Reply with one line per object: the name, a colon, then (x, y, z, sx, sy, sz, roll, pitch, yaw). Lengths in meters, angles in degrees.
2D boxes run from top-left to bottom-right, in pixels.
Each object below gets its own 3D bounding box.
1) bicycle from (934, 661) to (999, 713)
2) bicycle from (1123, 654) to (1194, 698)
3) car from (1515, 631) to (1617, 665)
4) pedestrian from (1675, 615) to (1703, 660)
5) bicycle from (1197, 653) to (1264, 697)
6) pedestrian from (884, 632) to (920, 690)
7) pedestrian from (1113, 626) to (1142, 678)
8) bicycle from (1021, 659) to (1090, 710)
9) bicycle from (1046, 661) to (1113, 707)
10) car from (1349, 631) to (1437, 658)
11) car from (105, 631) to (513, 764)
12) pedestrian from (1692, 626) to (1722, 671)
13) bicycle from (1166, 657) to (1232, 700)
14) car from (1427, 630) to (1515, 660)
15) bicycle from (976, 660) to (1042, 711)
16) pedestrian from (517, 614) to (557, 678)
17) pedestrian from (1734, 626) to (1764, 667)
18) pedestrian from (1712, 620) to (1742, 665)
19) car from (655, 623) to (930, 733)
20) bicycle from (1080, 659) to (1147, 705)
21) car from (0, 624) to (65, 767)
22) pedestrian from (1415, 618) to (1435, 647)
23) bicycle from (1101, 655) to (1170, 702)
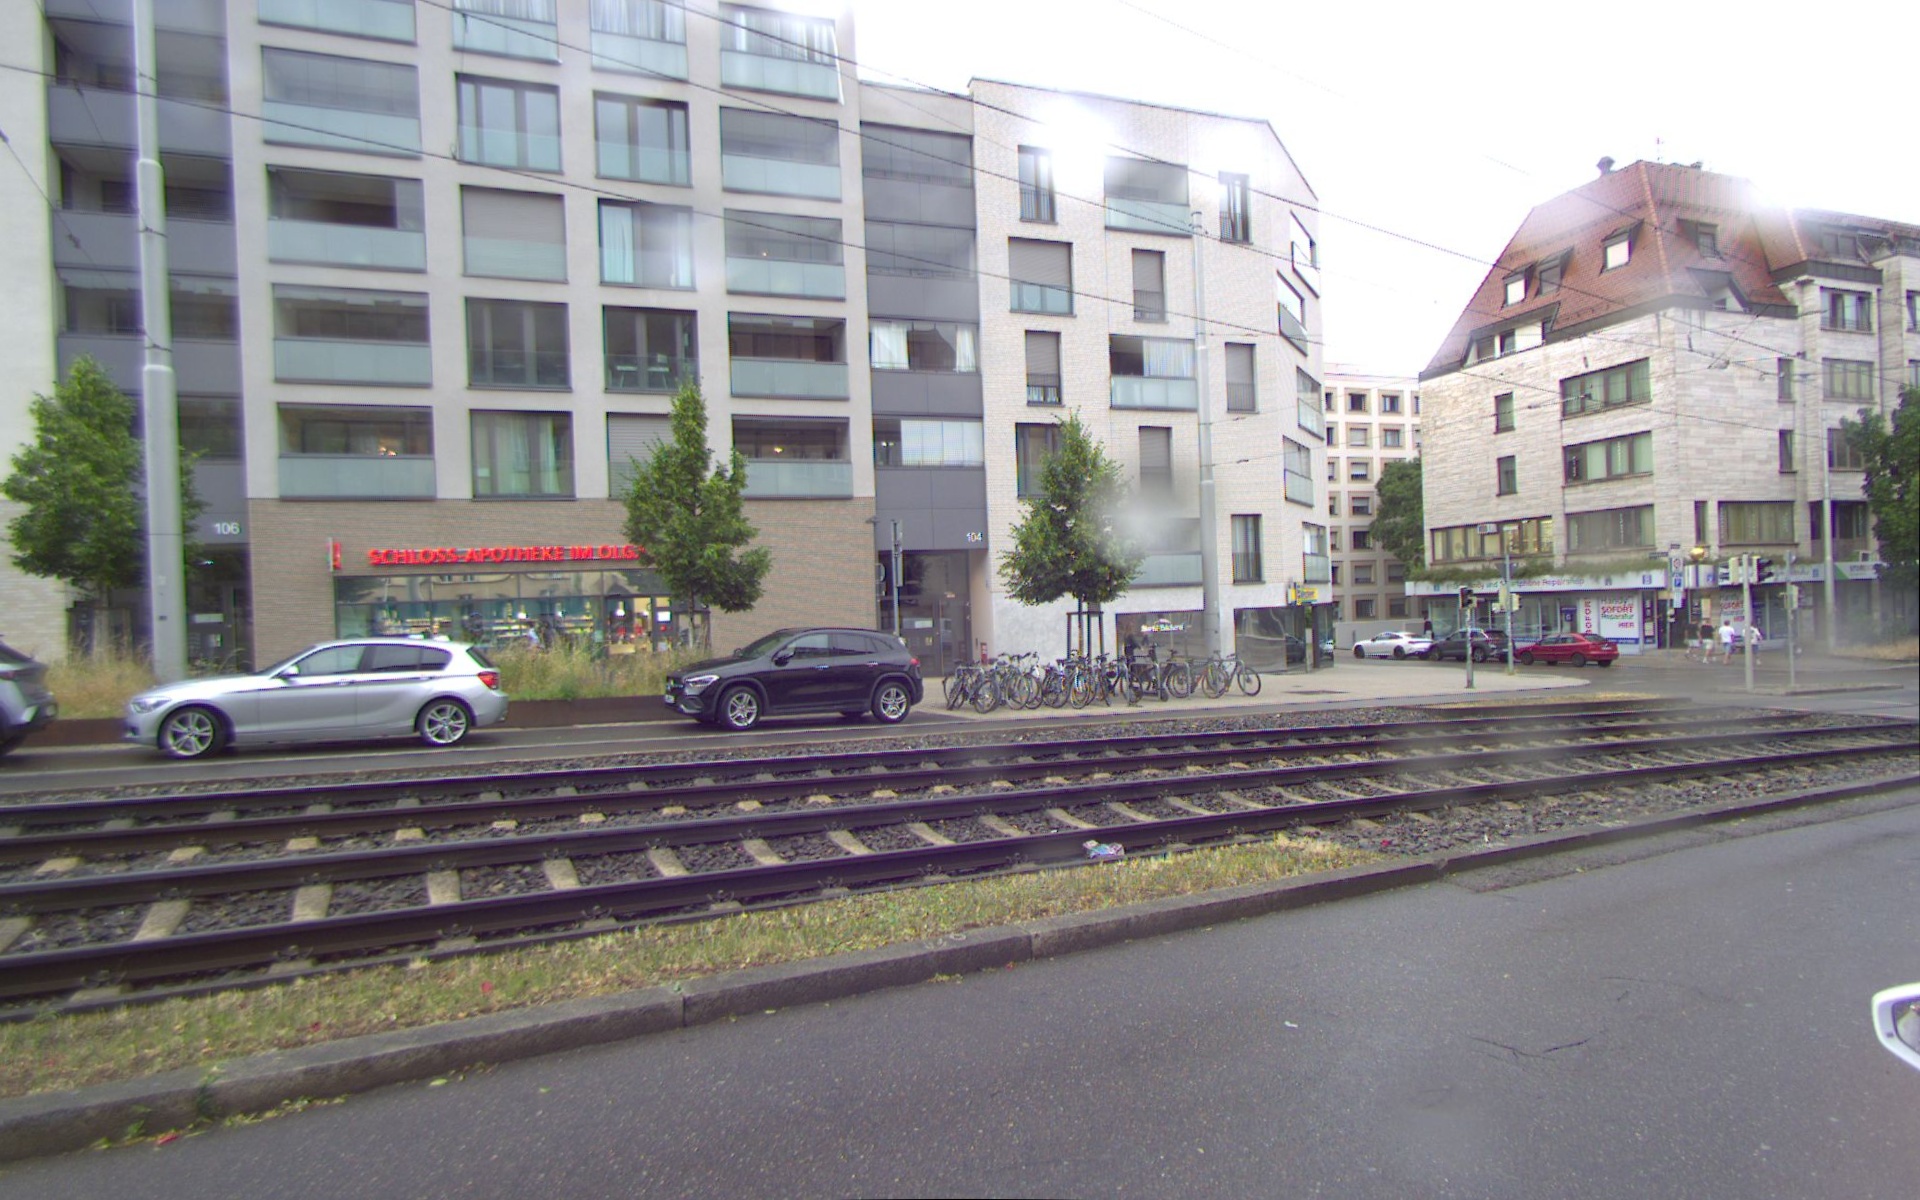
bicycle: (0.108, 1.732, 20.227, 0.383, 0.930, 1.772, 1, -1, -34)
bicycle: (4.773, 1.818, 24.240, 1.764, 0.930, 0.385, 0, -1, 44)
car: (25.845, 2.021, 42.986, 1.568, 1.335, 3.694, 1, -2, -16)
pedestrian: (30.468, 1.570, 42.000, 0.674, 1.867, 0.646, 1, 1, -22)
bicycle: (6.660, 1.835, 24.813, 0.436, 0.993, 1.773, 1, -2, -34)
pedestrian: (-1.516, 1.579, 26.187, 0.790, 1.468, 0.538, 2, 0, -18)
pedestrian: (5.283, 1.623, 31.622, 0.637, 1.590, 0.775, 0, -1, 33)
bicycle: (1.974, 1.734, 20.930, 0.383, 0.930, 1.772, 1, -1, -34)
bicycle: (2.574, 1.809, 21.778, 0.383, 0.929, 1.773, 1, -3, -34)
car: (22.435, 2.294, 52.208, 1.570, 1.335, 4.482, 1, -2, -20)
car: (-8.379, 1.185, 13.346, 4.280, 1.484, 1.671, 2, -1, -31)
pedestrian: (30.117, 1.932, 40.497, 0.674, 1.772, 0.646, 1, 0, -22)
bicycle: (5.695, 1.861, 24.058, 0.383, 0.888, 1.774, 1, 0, -31)
car: (24.164, 2.120, 47.617, 1.570, 1.335, 3.689, 1, -2, -20)
bicycle: (0.987, 1.731, 20.658, 0.383, 0.930, 1.772, 1, -1, -34)
pedestrian: (-9.993, 1.083, 23.742, 0.790, 1.468, 0.656, 2, 0, -18)
pedestrian: (30.777, 1.822, 39.179, 0.674, 1.569, 0.646, 1, 0, -22)
pedestrian: (30.338, 1.691, 39.753, 0.674, 1.747, 0.646, 1, 0, -22)
car: (-2.770, 1.241, 16.955, 4.280, 1.625, 1.671, 2, -1, -31)
bicycle: (3.430, 1.822, 22.524, 0.383, 0.930, 1.772, 1, -1, -34)
car: (-12.496, 1.041, 10.848, 4.010, 1.550, 1.669, 2, -1, -35)
pedestrian: (25.470, 1.770, 55.023, 0.640, 1.569, 0.680, 1, 0, -21)
bicycle: (4.035, 1.800, 23.196, 0.384, 0.930, 1.770, 1, 0, -38)
